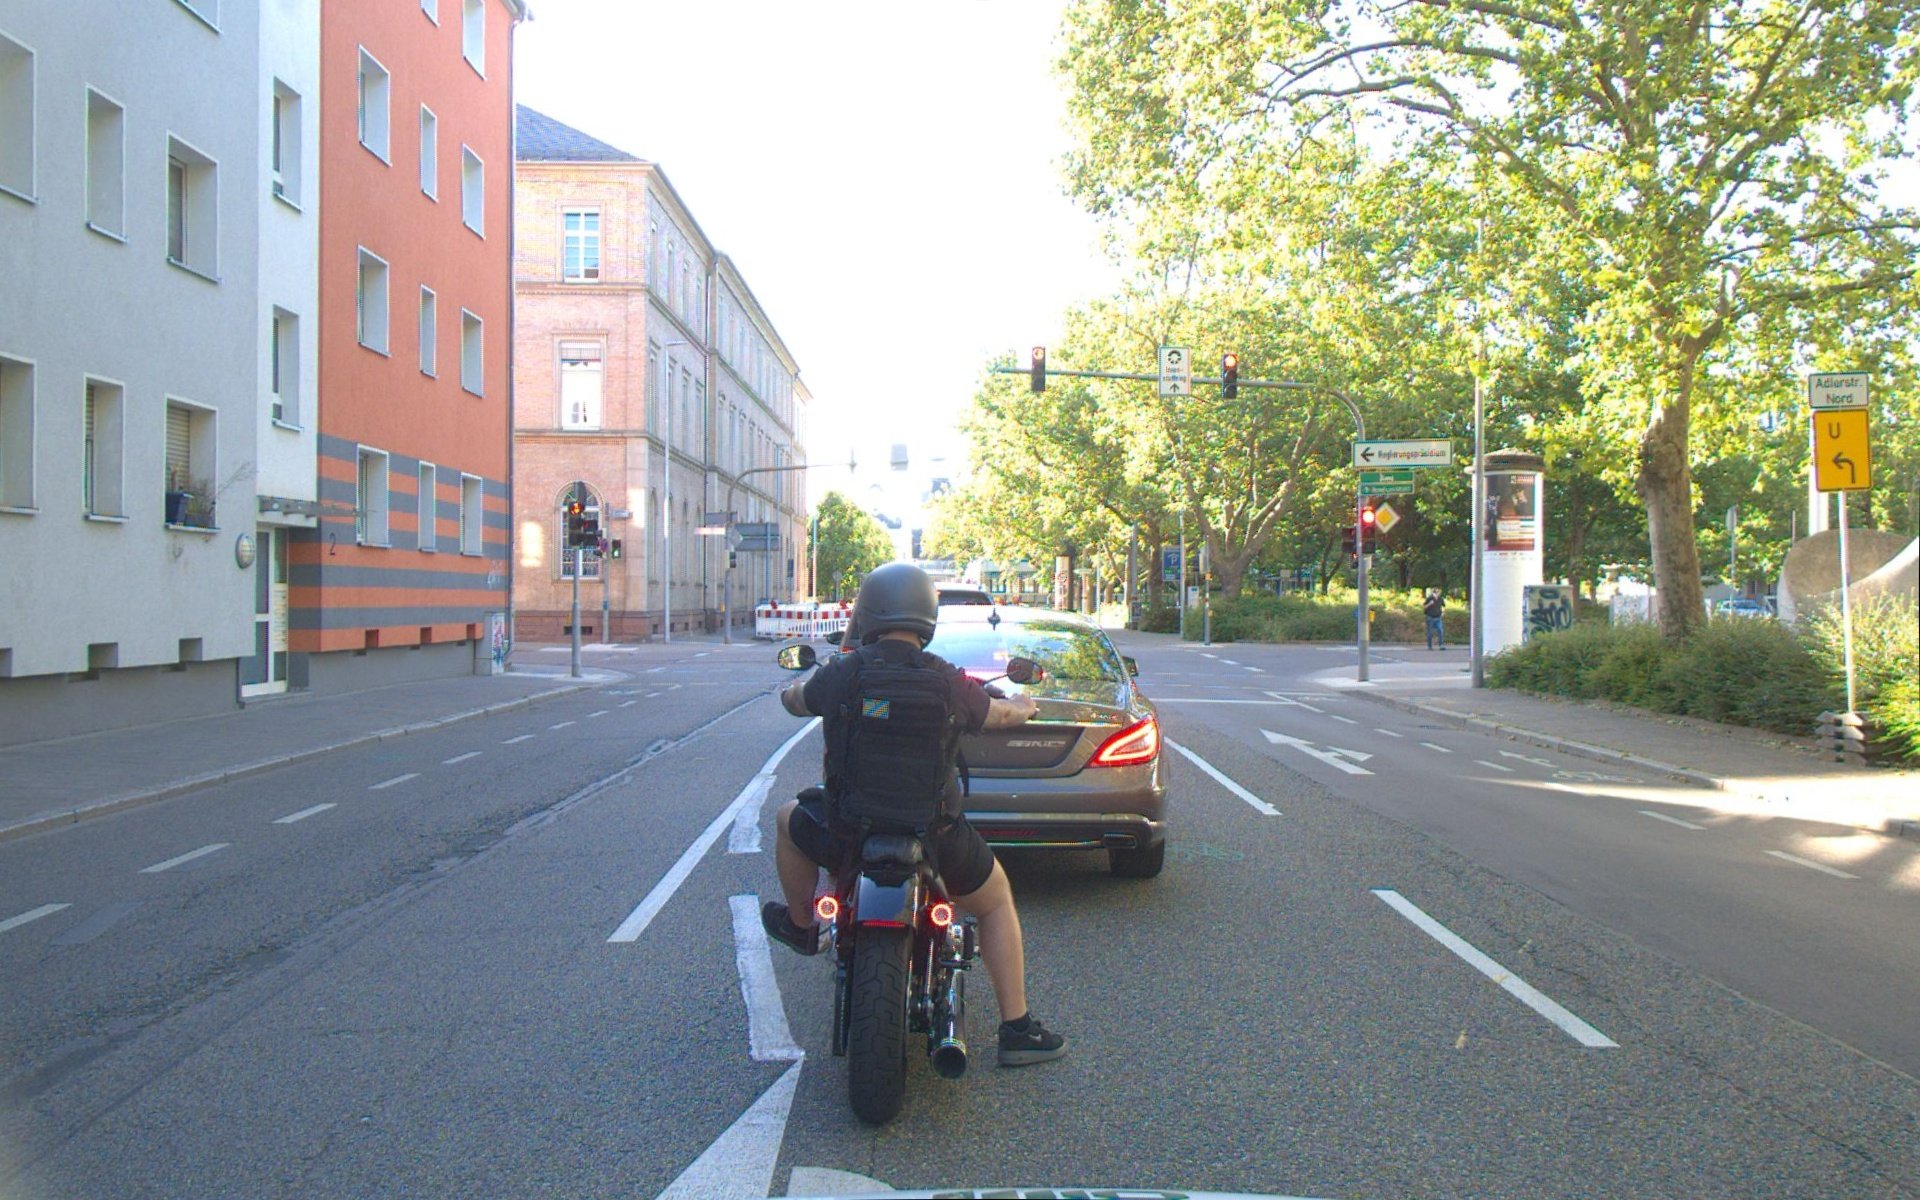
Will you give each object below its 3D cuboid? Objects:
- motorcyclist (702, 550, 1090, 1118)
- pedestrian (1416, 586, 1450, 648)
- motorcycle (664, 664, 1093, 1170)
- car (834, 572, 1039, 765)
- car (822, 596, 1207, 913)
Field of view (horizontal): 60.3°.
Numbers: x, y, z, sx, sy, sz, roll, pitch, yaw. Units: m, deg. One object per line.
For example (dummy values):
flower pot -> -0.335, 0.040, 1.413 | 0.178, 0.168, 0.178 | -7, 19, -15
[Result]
motorcyclist -> -0.145, 0.664, 5.270 | 1.076, 1.593, 1.072 | 1, 0, 5
pedestrian -> 13.917, 0.504, 48.655 | 0.721, 1.809, 0.728 | 1, -1, -7
motorcycle -> -0.133, 0.875, 5.490 | 1.094, 1.228, 2.213 | 1, 0, 5
car -> -0.243, 0.625, 16.934 | 1.825, 1.707, 3.999 | 1, 0, -1
car -> 0.230, 0.734, 9.662 | 1.785, 1.462, 3.805 | 1, 0, -1
